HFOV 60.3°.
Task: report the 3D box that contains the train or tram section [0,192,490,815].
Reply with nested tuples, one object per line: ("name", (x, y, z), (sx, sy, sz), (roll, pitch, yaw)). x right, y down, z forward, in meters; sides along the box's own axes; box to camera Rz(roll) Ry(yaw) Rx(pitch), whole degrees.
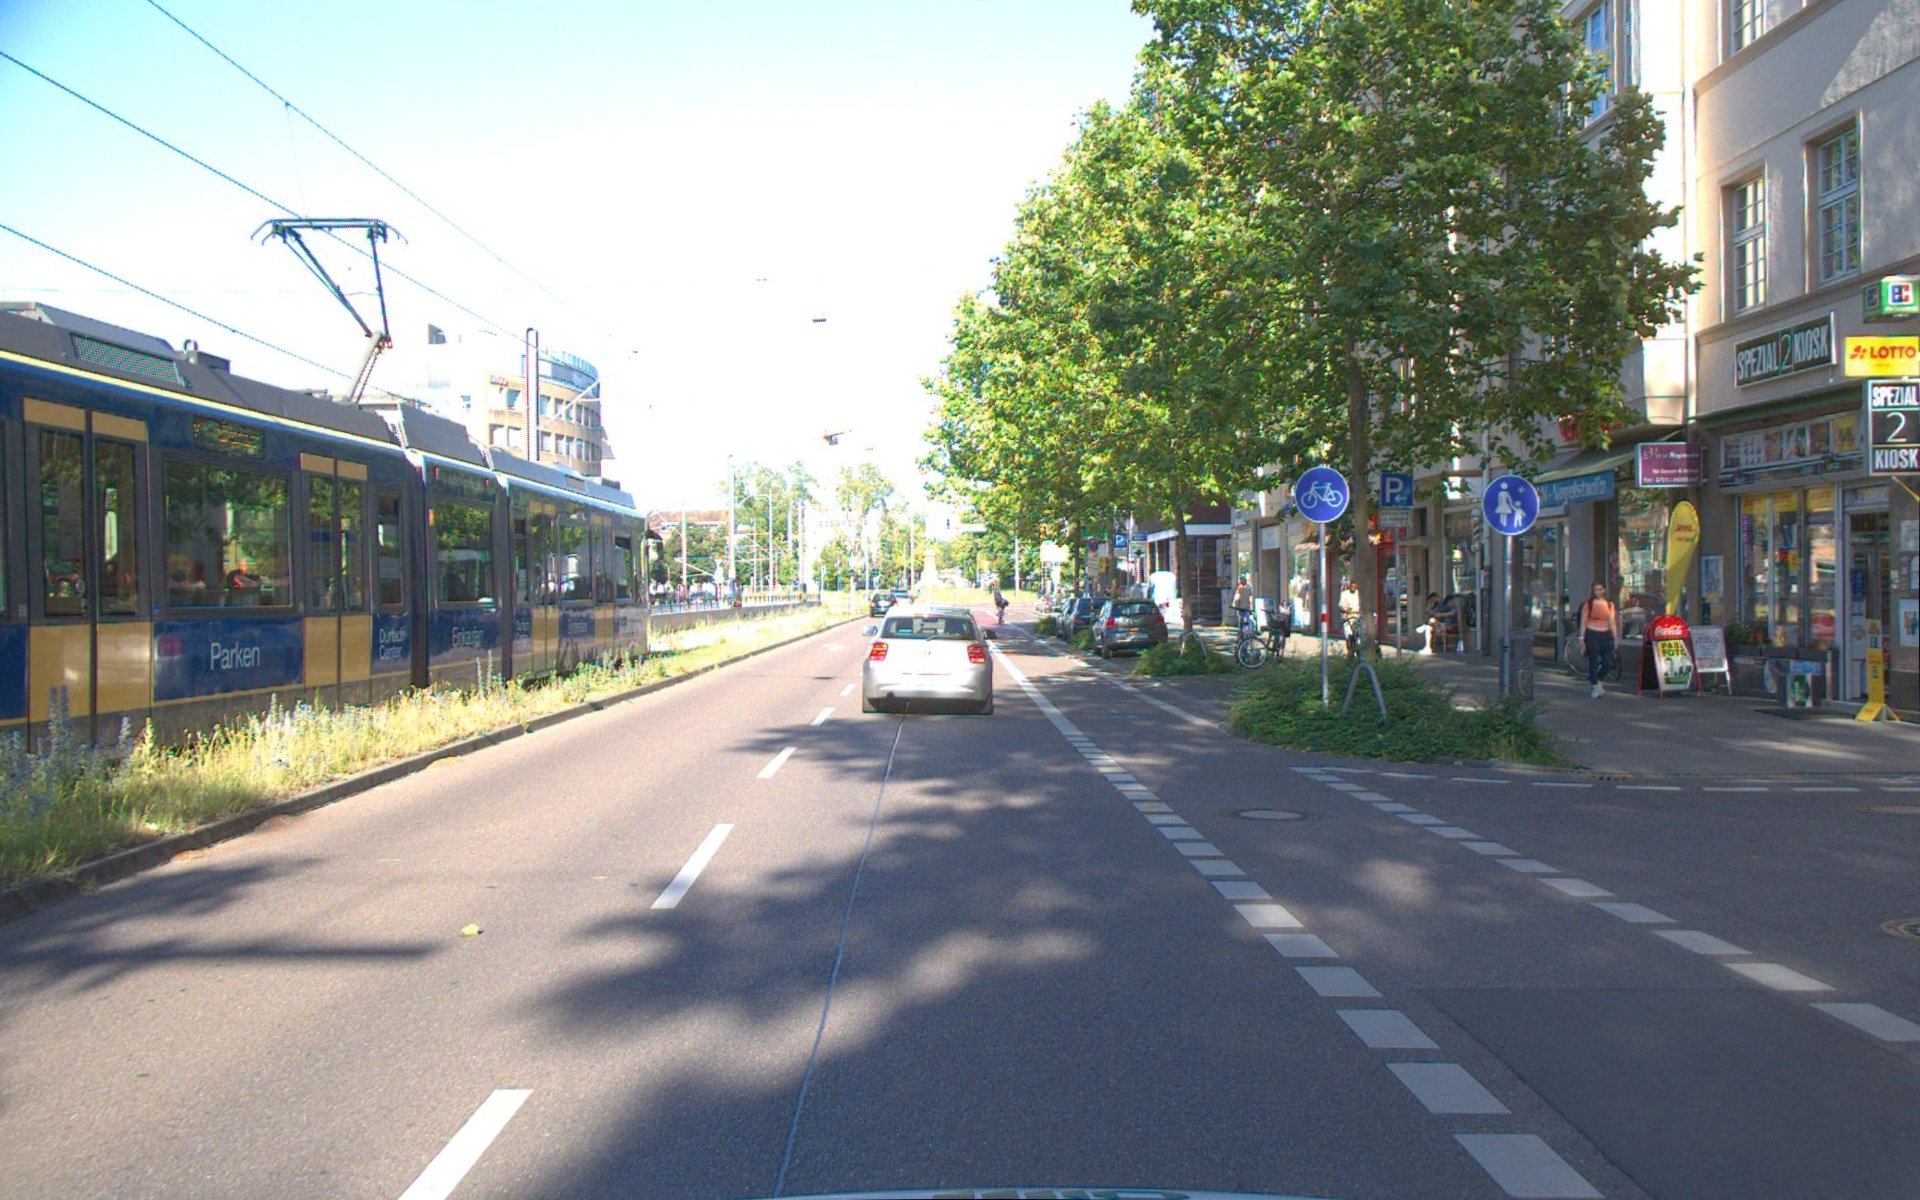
("train or tram section", (-7.341, -0.616, 12.735), (2.868, 3.879, 14.276), (1, 0, 2))

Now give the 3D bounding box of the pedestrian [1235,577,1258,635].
("pedestrian", (8.779, 0.180, 50.703), (0.546, 1.741, 0.770), (-1, 0, -1))

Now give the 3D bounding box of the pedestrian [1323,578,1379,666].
("pedestrian", (7.974, 0.444, 33.764), (0.842, 1.734, 0.916), (-2, 0, -3))

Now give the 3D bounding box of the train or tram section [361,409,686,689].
("train or tram section", (-7.159, -0.727, 29.164), (2.892, 3.965, 10.801), (1, 0, -1))

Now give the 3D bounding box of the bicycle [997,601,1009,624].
("bicycle", (2.074, 0.593, 80.514), (0.489, 1.107, 1.997), (1, 0, -1))

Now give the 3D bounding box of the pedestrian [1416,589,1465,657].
("pedestrian", (10.183, 0.483, 35.060), (0.769, 1.393, 0.857), (-1, 0, 0))

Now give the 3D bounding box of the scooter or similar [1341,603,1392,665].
("scooter or similar", (8.057, 0.658, 32.789), (0.729, 1.192, 0.848), (-1, 0, -4))

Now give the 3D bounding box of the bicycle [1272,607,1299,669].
("bicycle", (6.774, 0.776, 34.396), (0.377, 1.228, 1.874), (0, 0, 17))

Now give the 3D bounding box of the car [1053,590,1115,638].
("car", (4.262, 0.451, 57.478), (1.753, 1.582, 4.435), (-1, 0, -1))

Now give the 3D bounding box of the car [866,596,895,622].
("car", (-4.726, 0.522, 98.240), (1.692, 1.496, 4.407), (0, 0, -3))

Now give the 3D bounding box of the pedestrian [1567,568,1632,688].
("pedestrian", (8.945, 0.388, 23.159), (0.668, 1.650, 0.562), (0, 0, -3))

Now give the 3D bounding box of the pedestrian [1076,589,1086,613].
("pedestrian", (10.481, 0.077, 143.491), (0.774, 2.049, 0.870), (1, 0, 6))

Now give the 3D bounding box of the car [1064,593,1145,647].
("car", (4.344, 0.572, 50.253), (1.997, 1.535, 4.593), (-1, 0, -1))

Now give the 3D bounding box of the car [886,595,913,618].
("car", (-3.901, 0.418, 106.340), (1.611, 1.446, 3.999), (0, 0, -1))

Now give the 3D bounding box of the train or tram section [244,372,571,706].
("train or tram section", (-7.092, -0.733, 21.793), (2.894, 3.965, 3.866), (1, 0, 1))

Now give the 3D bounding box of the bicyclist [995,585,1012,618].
("bicyclist", (2.106, 0.077, 80.536), (0.769, 1.558, 0.895), (1, 0, -1))

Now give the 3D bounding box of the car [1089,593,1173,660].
("car", (4.353, 0.648, 42.662), (1.660, 1.528, 3.801), (-3, 1, -1))

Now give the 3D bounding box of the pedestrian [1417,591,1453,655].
("pedestrian", (10.322, 0.491, 35.945), (0.524, 1.355, 0.820), (-2, 0, 0))

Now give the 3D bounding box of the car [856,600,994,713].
("car", (-0.478, 0.721, 23.103), (1.761, 1.439, 3.999), (0, 0, -1))

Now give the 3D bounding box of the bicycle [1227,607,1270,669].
("bicycle", (5.948, 0.781, 34.152), (0.384, 1.236, 1.901), (-2, -1, -4))

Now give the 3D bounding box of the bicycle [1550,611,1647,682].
("bicycle", (10.255, 0.725, 26.672), (0.480, 1.042, 2.622), (-2, 0, -1))
